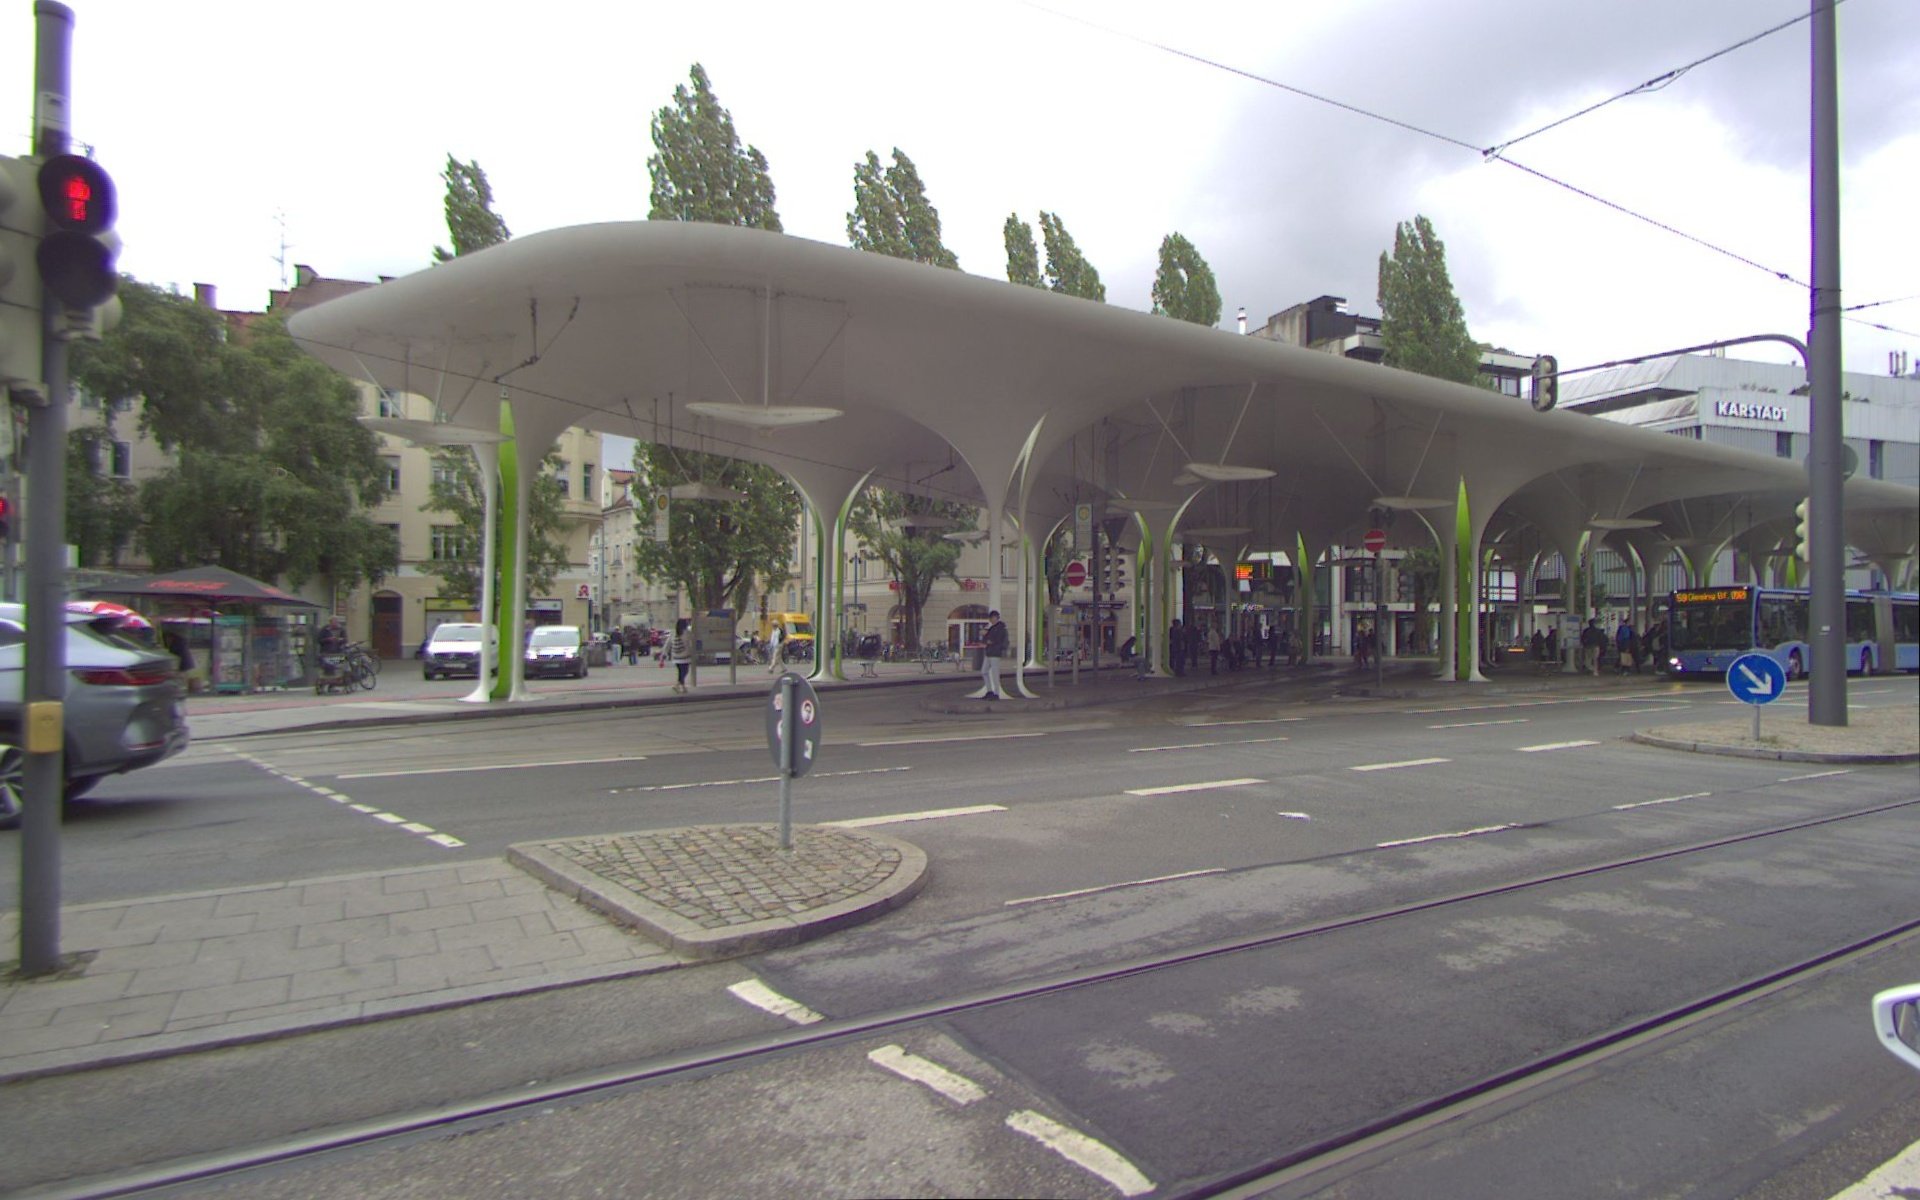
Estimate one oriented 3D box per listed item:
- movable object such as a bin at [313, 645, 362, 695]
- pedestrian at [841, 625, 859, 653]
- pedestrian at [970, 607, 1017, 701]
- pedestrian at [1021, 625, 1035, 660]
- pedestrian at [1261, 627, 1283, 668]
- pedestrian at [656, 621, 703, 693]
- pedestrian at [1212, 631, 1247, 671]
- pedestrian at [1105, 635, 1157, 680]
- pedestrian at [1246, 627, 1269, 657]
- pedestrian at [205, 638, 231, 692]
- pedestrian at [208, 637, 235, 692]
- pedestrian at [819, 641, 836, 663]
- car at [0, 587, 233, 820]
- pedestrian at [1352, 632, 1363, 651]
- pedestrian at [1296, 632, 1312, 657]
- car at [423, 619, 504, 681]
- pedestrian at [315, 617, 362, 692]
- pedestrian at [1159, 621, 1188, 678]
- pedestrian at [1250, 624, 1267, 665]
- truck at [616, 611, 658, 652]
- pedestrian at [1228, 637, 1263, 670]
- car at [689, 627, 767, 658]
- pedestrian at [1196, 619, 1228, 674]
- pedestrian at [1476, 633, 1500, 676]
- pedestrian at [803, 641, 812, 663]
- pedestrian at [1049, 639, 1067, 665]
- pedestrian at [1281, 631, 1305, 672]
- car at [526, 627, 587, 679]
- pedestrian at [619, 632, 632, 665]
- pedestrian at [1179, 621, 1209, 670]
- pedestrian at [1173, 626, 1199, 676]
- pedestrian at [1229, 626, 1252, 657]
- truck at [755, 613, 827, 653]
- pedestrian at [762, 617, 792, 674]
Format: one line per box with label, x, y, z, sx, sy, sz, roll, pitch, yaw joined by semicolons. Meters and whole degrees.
movable object such as a bin;-14.754;1.643;23.783;0.947;1.098;1.325;1;-2;-33
pedestrian;-7.190;2.522;65.668;0.792;1.807;0.951;1;-1;-31
pedestrian;0.681;1.076;20.283;0.654;1.863;0.809;0;-1;31
pedestrian;3.545;2.206;52.277;0.546;1.838;0.556;1;-1;-18
pedestrian;12.289;1.850;39.589;0.652;1.585;0.640;-1;-2;35
pedestrian;-6.406;1.289;22.941;0.823;1.631;0.748;0;-1;2
pedestrian;9.682;1.826;36.128;0.829;1.388;0.961;1;-1;-23
pedestrian;4.836;1.616;28.393;1.248;1.246;0.811;1;-1;-11
pedestrian;17.651;2.484;59.668;0.981;1.796;0.930;1;-1;-10
pedestrian;-18.012;1.563;24.393;0.425;1.286;0.409;1;-1;-25
pedestrian;-17.629;1.525;23.997;0.425;1.286;0.409;1;-1;-25
pedestrian;-7.024;2.726;53.126;0.606;1.097;1.835;1;-1;-16
car;-8.287;0.764;7.360;4.626;1.660;1.853;1;-3;-32
pedestrian;27.546;2.870;69.637;0.567;1.351;0.512;1;-1;-11
pedestrian;23.263;2.983;67.949;0.762;1.683;0.779;1;-1;-20
car;-17.095;1.665;34.792;1.842;1.973;4.911;1;-2;-19
pedestrian;-15.339;1.325;24.802;0.947;1.785;1.023;1;-1;-33
pedestrian;7.247;1.658;34.070;0.701;1.897;0.876;0;-1;32
pedestrian;12.537;1.855;42.208;0.635;1.719;0.700;0;-1;11
truck;-21.542;2.074;66.834;2.259;2.658;5.324;1;-1;-22
pedestrian;10.998;2.050;38.681;0.867;1.170;0.908;1;1;-30
car;-14.582;2.660;63.266;4.722;1.945;1.995;1;-2;-14
pedestrian;8.155;1.508;32.515;0.799;1.750;0.668;-1;-2;44
pedestrian;25.741;2.639;49.004;0.889;2.040;0.673;0;-1;14
pedestrian;-7.908;2.693;51.958;0.397;1.097;0.467;1;-1;-16
pedestrian;4.312;2.279;44.159;0.573;1.098;0.513;1;-2;-37
pedestrian;13.423;2.076;40.485;0.690;1.639;0.644;1;-1;-26
car;-13.617;1.739;34.037;1.804;1.637;3.981;1;-2;-21
pedestrian;-16.596;2.385;49.829;0.453;1.612;0.519;1;1;-32
pedestrian;8.682;1.672;37.288;0.772;1.812;0.760;1;-1;-27
pedestrian;7.093;1.589;31.523;0.586;1.565;0.634;-1;-2;43
pedestrian;16.603;2.456;59.479;0.981;1.796;0.930;1;-1;-10
truck;-11.427;2.205;67.478;2.412;2.546;7.125;1;-2;-30
pedestrian;-6.679;1.650;36.620;1.010;2.040;1.002;1;-1;-14
